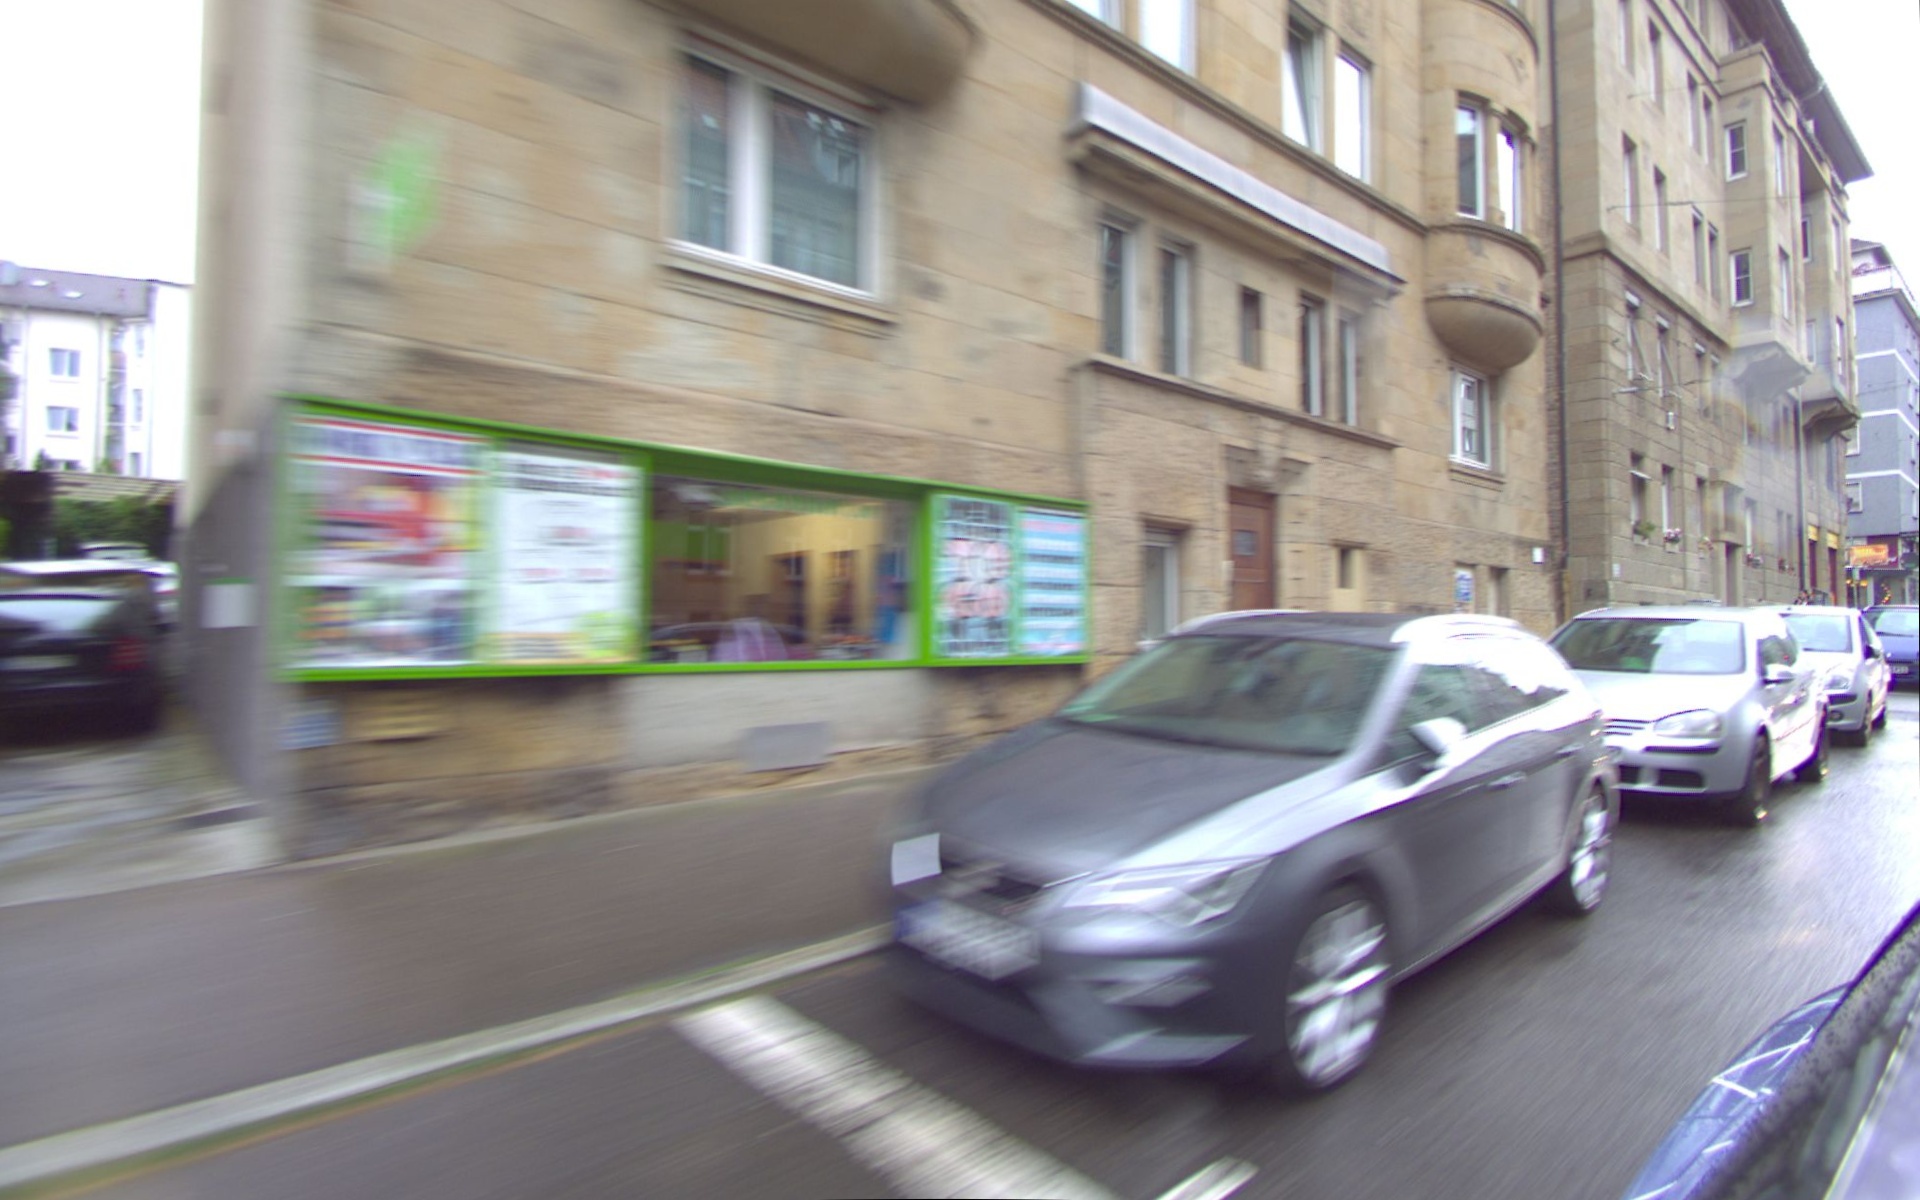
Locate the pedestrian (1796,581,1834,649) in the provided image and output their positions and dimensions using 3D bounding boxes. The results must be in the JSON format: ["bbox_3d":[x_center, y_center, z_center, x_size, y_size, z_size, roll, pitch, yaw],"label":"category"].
[{"bbox_3d":[19.918,0.333,23.568,0.697,1.555,0.562,0,-1,-40],"label":"pedestrian"}]

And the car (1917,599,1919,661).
[{"bbox_3d":[24.181,0.689,24.108,3.949,1.416,1.709,0,0,-42],"label":"car"}]

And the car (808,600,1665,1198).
[{"bbox_3d":[1.566,0.716,4.488,4.238,1.428,1.672,0,0,-42],"label":"car"}]

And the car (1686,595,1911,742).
[{"bbox_3d":[9.930,0.678,11.898,3.622,1.452,1.592,0,0,-43],"label":"car"}]

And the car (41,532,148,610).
[{"bbox_3d":[-21.050,-0.633,24.685,1.844,1.705,3.994,0,-1,-40],"label":"car"}]

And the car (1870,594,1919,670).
[{"bbox_3d":[20.355,0.628,20.998,4.013,1.481,1.790,0,0,-42],"label":"car"}]

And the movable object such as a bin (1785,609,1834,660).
[{"bbox_3d":[19.246,0.760,22.935,1.104,1.117,0.666,0,-1,-41],"label":"movable object such as a bin"}]

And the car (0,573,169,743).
[{"bbox_3d":[-9.403,0.493,10.632,1.654,1.487,3.997,0,0,-37],"label":"car"}]

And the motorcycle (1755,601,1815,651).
[{"bbox_3d":[20.889,0.628,25.605,2.697,1.214,0.706,0,-1,-41],"label":"motorcycle"}]

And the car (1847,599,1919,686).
[{"bbox_3d":[17.008,0.702,17.944,3.387,1.433,1.546,0,0,-42],"label":"car"}]

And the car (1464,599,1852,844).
[{"bbox_3d":[5.631,0.722,7.973,3.888,1.452,1.670,0,0,-42],"label":"car"}]
